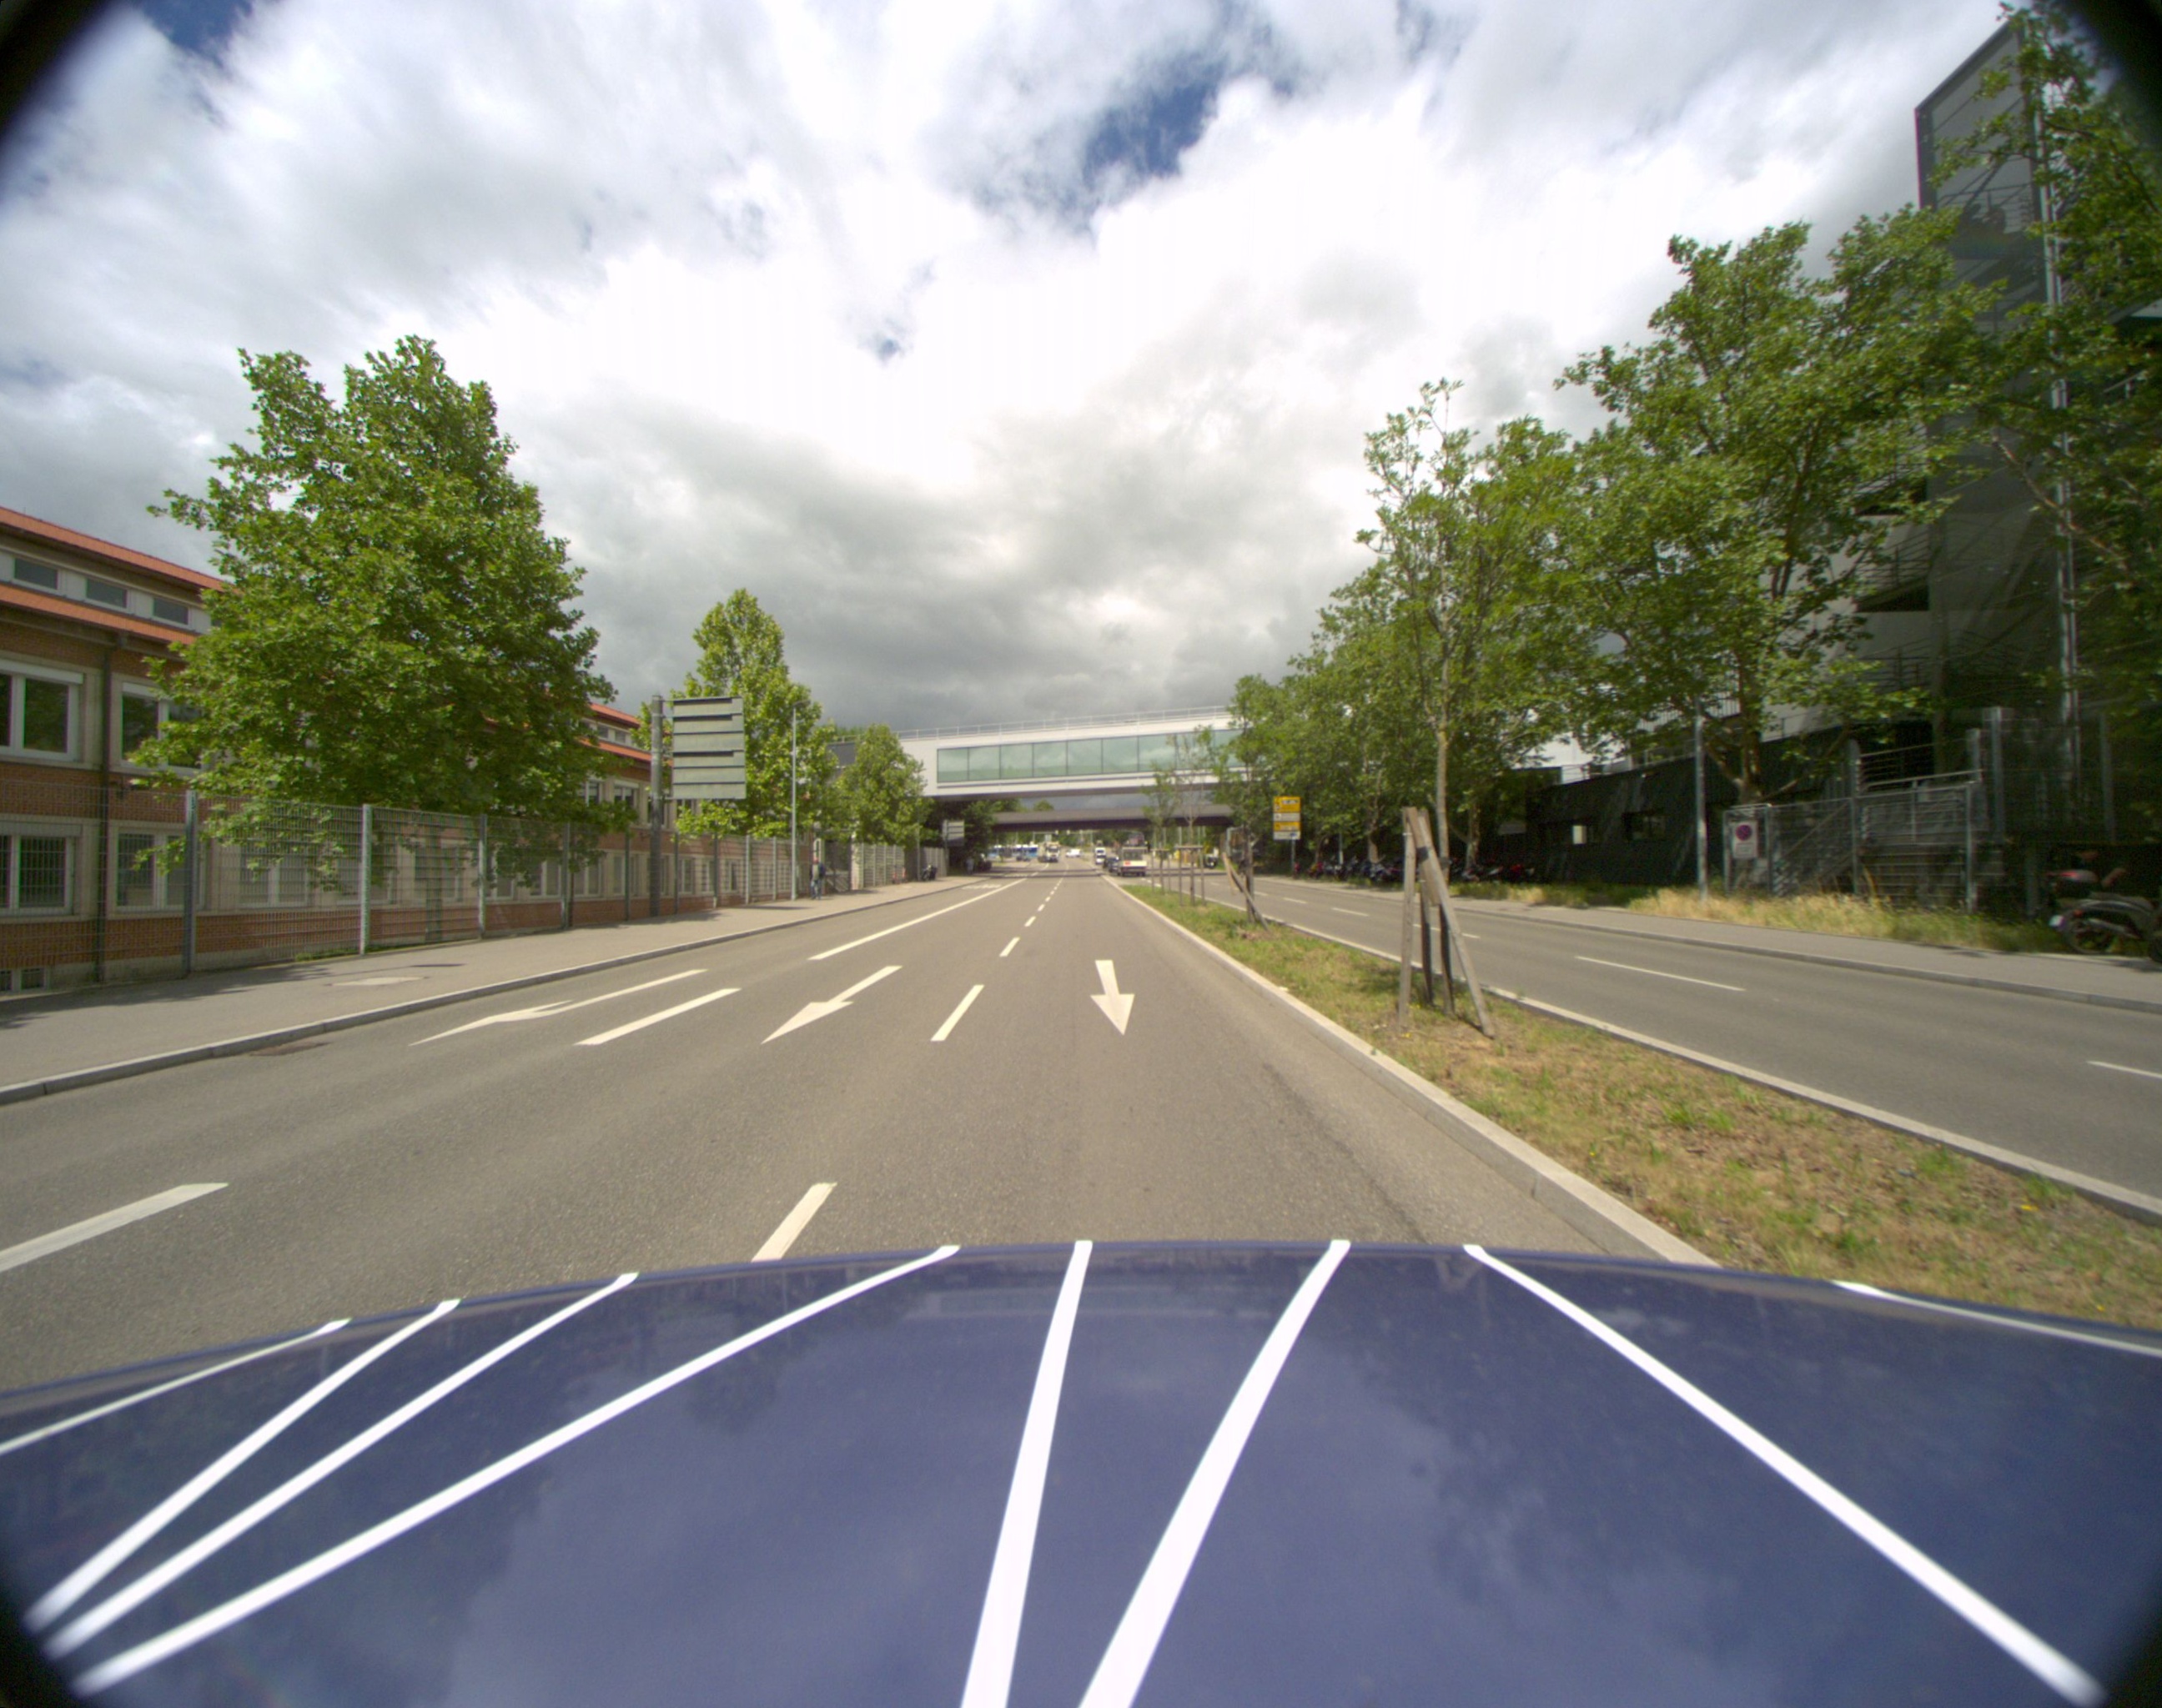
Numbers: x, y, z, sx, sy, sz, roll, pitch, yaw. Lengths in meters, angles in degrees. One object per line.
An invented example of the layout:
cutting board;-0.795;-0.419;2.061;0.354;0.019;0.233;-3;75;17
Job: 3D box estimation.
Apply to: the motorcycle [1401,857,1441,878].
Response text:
motorcycle;19.166;0.760;42.800;1.933;1.109;0.923;-4;-1;27

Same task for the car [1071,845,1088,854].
car;-0.414;-1.049;178.617;1.831;1.796;4.244;-2;0;-36

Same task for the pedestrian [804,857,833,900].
pedestrian;-10.940;1.014;31.715;0.879;1.733;0.940;1;1;0

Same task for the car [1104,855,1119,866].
car;3.937;0.840;98.240;1.713;1.445;4.479;-1;0;-1

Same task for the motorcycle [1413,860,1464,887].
motorcycle;15.585;0.834;33.186;1.880;1.078;0.795;-3;-1;16

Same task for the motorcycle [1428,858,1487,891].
motorcycle;14.826;0.809;29.943;1.881;1.166;0.746;-3;-1;10

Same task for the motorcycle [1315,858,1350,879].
motorcycle;15.198;0.872;46.000;1.752;1.172;0.852;-3;-1;-11

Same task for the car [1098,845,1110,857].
car;4.920;-0.653;159.244;2.045;2.458;5.574;-2;0;5

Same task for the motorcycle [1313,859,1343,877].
motorcycle;15.314;0.857;47.097;1.595;1.027;0.776;-3;-1;2

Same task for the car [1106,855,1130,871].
car;3.763;0.916;78.067;1.910;1.621;4.291;-1;0;-4

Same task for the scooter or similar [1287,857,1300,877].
scooter or similar;13.529;0.796;48.351;0.355;1.229;1.479;-2;1;0

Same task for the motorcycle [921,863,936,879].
motorcycle;-11.336;1.251;56.642;0.670;1.058;2.247;2;0;0

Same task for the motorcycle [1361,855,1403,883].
motorcycle;15.528;0.786;39.237;1.934;1.336;0.866;-3;-1;21

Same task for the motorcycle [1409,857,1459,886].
motorcycle;15.917;0.780;34.246;1.882;1.202;0.655;-3;-1;4

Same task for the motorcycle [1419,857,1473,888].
motorcycle;15.361;0.768;32.004;1.881;1.179;0.730;-3;0;9

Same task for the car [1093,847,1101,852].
car;4.007;-1.087;194.642;1.998;1.346;4.000;0;0;2

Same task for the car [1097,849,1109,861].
car;3.501;0.129;120.918;1.813;1.770;4.977;-1;0;0

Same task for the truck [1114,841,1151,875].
truck;4.330;0.364;64.873;2.486;2.735;6.457;-1;0;-2

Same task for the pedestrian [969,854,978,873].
pedestrian;-10.664;0.901;75.500;0.791;1.876;1.097;0;1;-1

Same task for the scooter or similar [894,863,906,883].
scooter or similar;-11.779;1.210;49.448;0.492;1.287;1.336;0;0;0

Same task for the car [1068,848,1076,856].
car;-2.392;-0.562;205.563;1.999;2.002;4.000;-2;0;0

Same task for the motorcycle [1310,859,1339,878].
motorcycle;15.500;0.921;48.385;1.595;1.116;0.776;-3;-1;2

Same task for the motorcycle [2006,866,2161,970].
motorcycle;14.269;0.855;10.451;2.139;1.301;0.806;-1;0;-1

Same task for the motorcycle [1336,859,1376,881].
motorcycle;15.603;0.908;43.107;1.933;1.109;0.923;-4;-1;27

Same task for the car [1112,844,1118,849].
car;10.667;-2.284;239.520;1.998;1.478;4.000;0;0;2

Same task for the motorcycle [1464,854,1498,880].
motorcycle;18.848;0.617;35.873;0.654;1.202;1.984;-3;-1;5

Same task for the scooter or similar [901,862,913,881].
scooter or similar;-11.781;1.173;51.483;0.492;1.287;1.336;0;0;0

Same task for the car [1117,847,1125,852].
car;10.879;-1.147;207.284;1.998;1.346;4.000;0;0;2

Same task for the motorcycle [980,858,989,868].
motorcycle;-11.378;1.082;89.650;0.679;1.148;2.113;0;0;1

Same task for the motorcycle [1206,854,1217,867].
motorcycle;13.536;0.655;78.828;0.641;1.191;2.257;-3;1;-1

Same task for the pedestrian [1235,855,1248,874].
pedestrian;13.620;0.870;64.456;0.769;1.602;0.813;-3;1;-1

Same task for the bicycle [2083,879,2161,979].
bicycle;14.270;0.919;9.624;2.139;1.173;0.806;-1;0;-1

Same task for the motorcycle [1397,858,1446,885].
motorcycle;15.822;0.821;35.354;1.882;1.172;0.698;-3;-1;4

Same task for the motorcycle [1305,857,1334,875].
motorcycle;15.559;0.787;49.531;1.596;1.116;0.776;-3;-1;-9

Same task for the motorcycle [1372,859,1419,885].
motorcycle;15.124;0.874;36.603;1.881;1.172;0.815;-3;-1;9

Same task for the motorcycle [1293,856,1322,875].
motorcycle;15.466;0.798;51.947;1.745;1.164;0.777;-3;-1;8

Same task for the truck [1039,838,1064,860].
truck;-5.692;-0.922;145.110;2.790;3.981;10.074;-2;0;-14

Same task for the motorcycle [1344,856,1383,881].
motorcycle;15.542;0.796;41.757;1.934;1.283;0.894;-3;-1;21

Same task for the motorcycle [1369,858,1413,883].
motorcycle;15.435;0.831;37.888;1.880;1.172;0.816;-3;-1;15

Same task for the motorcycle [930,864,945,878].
motorcycle;-11.249;1.317;59.721;0.709;1.058;2.510;2;0;0

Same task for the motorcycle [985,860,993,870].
motorcycle;-11.161;1.352;92.127;0.679;1.136;2.160;0;0;-1

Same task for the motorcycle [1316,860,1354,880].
motorcycle;14.959;0.961;44.771;1.938;1.109;0.920;1;1;-11

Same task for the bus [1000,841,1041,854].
bus;-14.654;-1.587;184.418;9.780;2.919;2.651;-2;1;1

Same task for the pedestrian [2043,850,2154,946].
pedestrian;17.064;0.721;12.770;0.755;1.542;0.821;-1;0;10
